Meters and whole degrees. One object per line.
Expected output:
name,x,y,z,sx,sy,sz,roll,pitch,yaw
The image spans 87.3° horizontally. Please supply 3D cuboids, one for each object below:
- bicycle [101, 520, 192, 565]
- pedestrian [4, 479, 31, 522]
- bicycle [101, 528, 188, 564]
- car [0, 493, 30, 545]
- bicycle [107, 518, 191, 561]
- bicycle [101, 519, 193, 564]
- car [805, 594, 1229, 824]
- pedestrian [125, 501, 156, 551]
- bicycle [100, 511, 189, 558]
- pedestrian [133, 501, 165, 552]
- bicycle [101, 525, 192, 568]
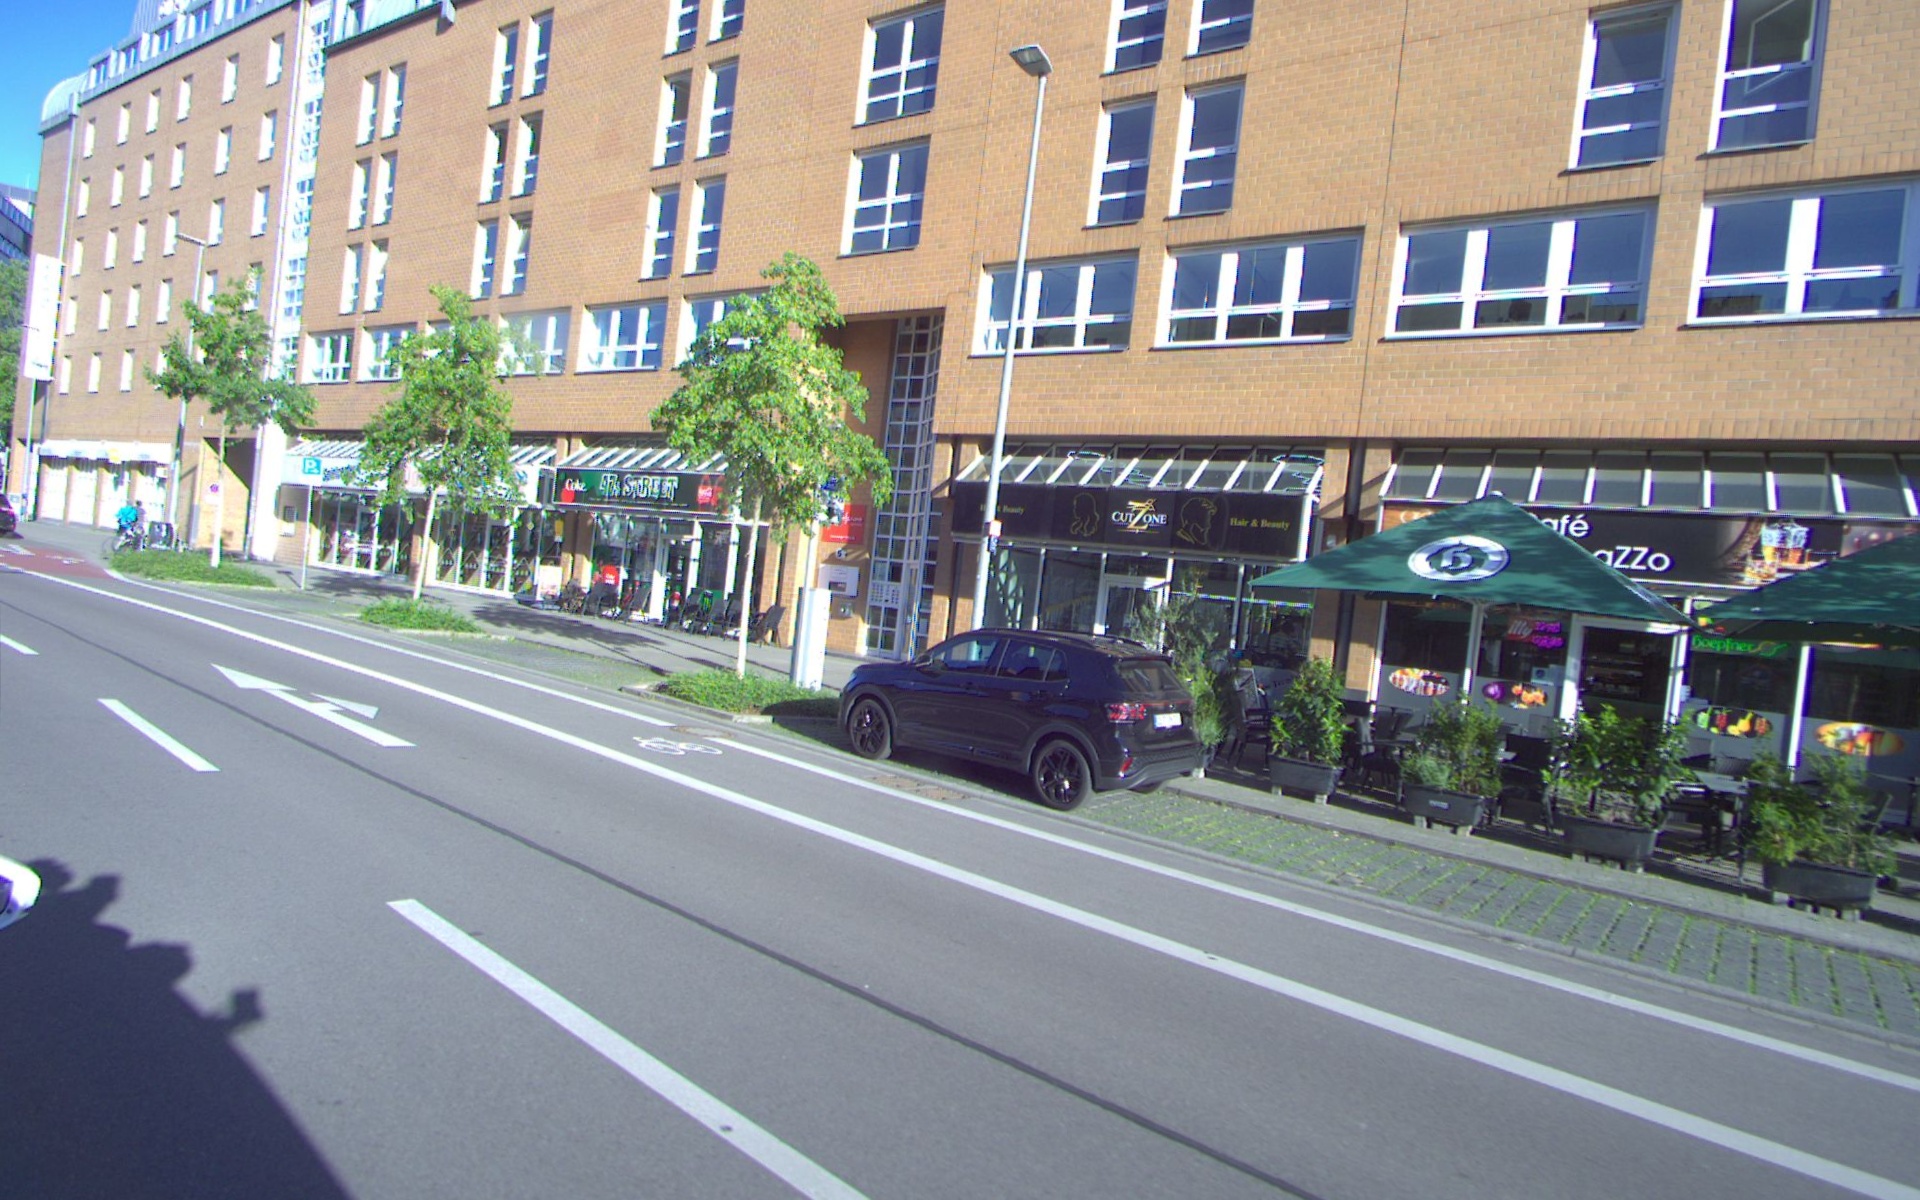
bicycle,-23.501,-1.652,29.088,0.547,1.089,1.940,7,1,43
pedestrian,-42.582,-4.482,45.427,0.736,1.844,0.607,7,1,32
bicycle,-24.494,-1.606,30.262,1.930,0.846,0.550,6,1,-31
car,-32.960,-2.899,33.448,4.557,1.578,1.849,7,-2,33
bicycle,-25.358,-1.877,31.461,0.617,1.088,1.939,7,1,44
bicycle,-22.698,-1.624,28.107,1.936,1.035,0.496,6,1,-40
car,0.461,0.992,10.705,4.169,1.657,1.719,7,1,39
pedestrian,-31.980,-2.889,39.241,0.736,1.844,0.607,7,1,32
bicycle,-23.850,-1.899,29.452,0.484,1.151,1.940,7,1,43
pedestrian,-31.456,-2.850,39.018,0.736,1.844,0.607,7,1,32
bicycle,-23.047,-1.516,28.525,1.936,0.981,0.548,6,1,-40
